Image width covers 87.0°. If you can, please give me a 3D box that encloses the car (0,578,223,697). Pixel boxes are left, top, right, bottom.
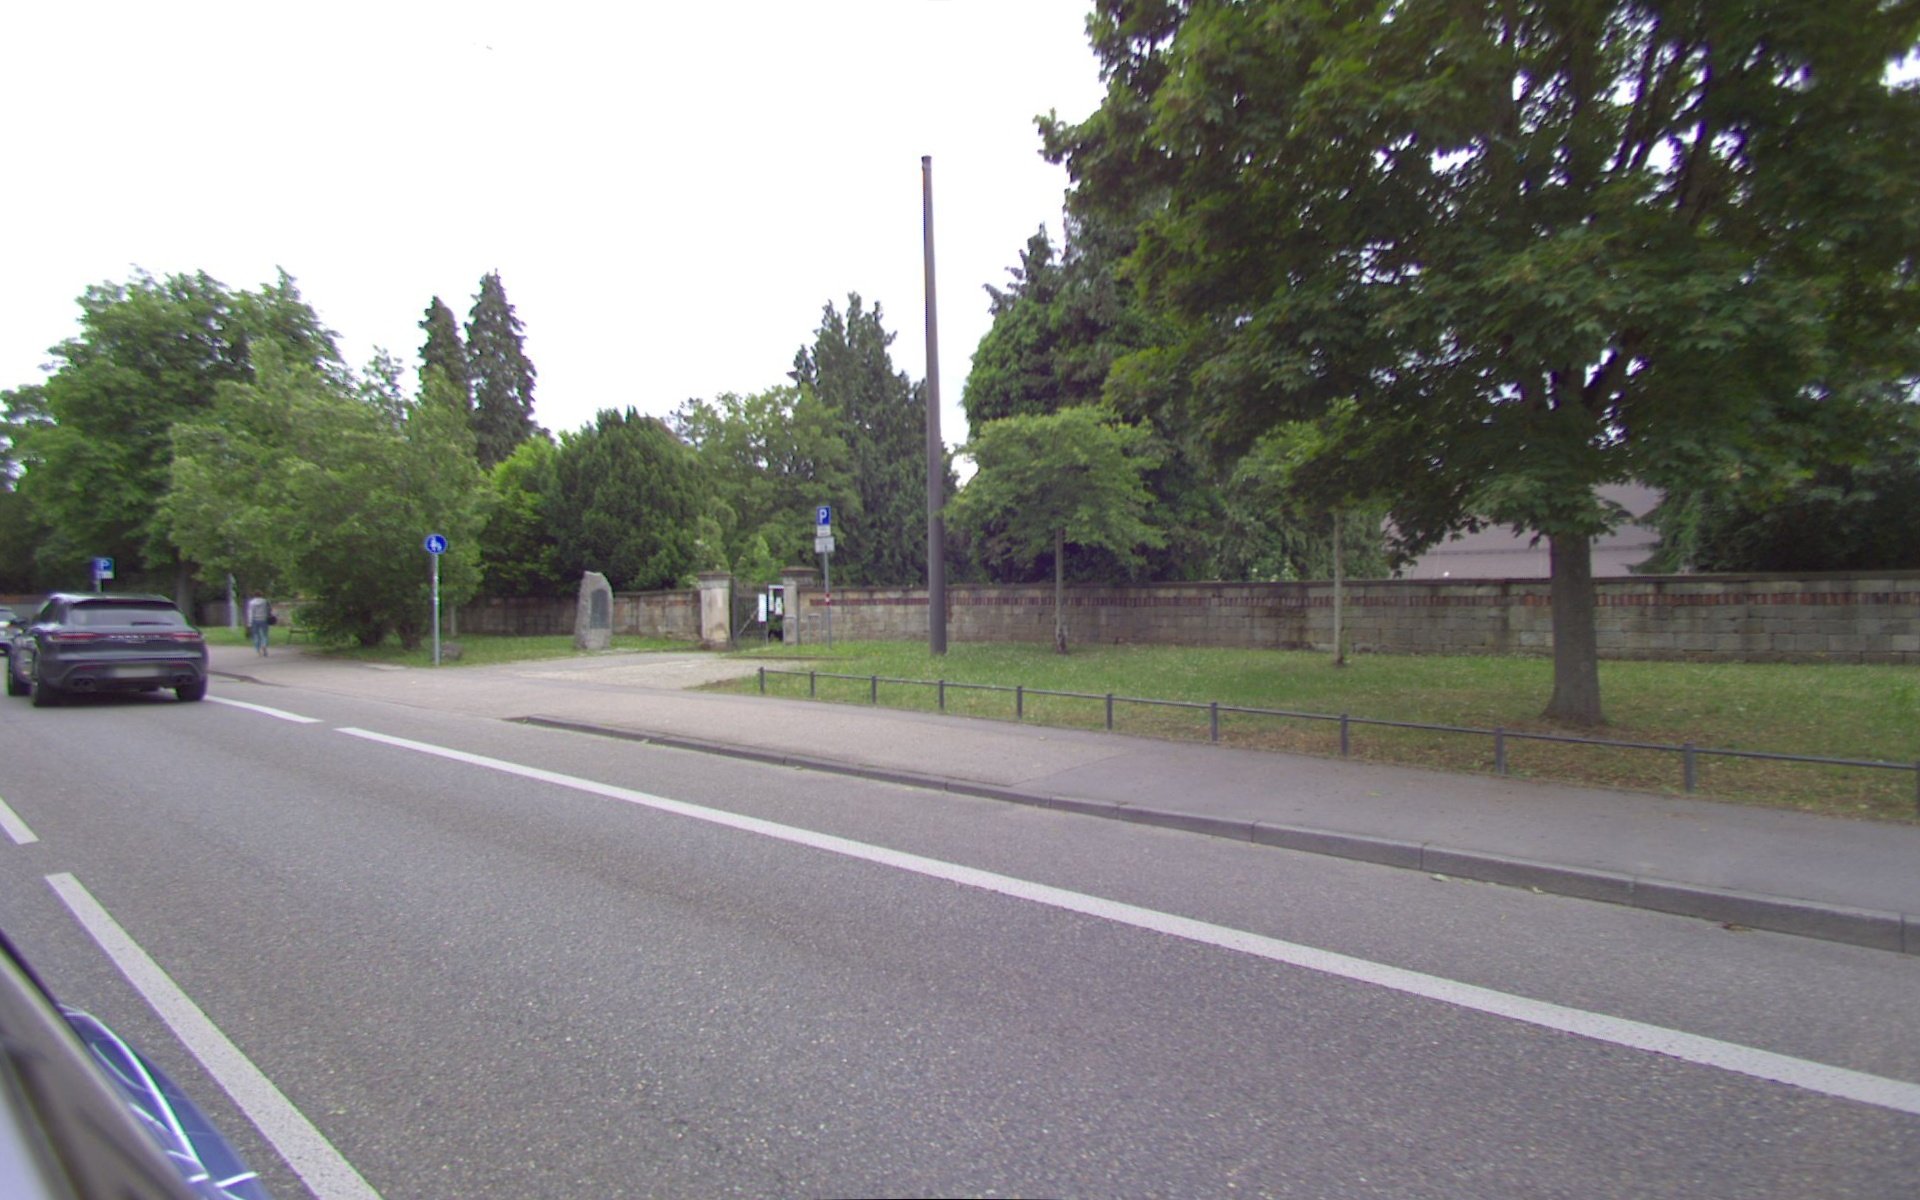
[{"bbox_3d":[-12.969,0.537,15.354,4.524,1.543,1.918,-1,-2,41],"label":"car"}]

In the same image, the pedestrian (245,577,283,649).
[{"bbox_3d":[-18.122,0.329,26.349,0.784,1.825,0.607,0,1,41],"label":"pedestrian"}]

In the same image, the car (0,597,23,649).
[{"bbox_3d":[-29.066,0.660,29.900,4.153,1.473,1.707,-1,-1,43],"label":"car"}]
